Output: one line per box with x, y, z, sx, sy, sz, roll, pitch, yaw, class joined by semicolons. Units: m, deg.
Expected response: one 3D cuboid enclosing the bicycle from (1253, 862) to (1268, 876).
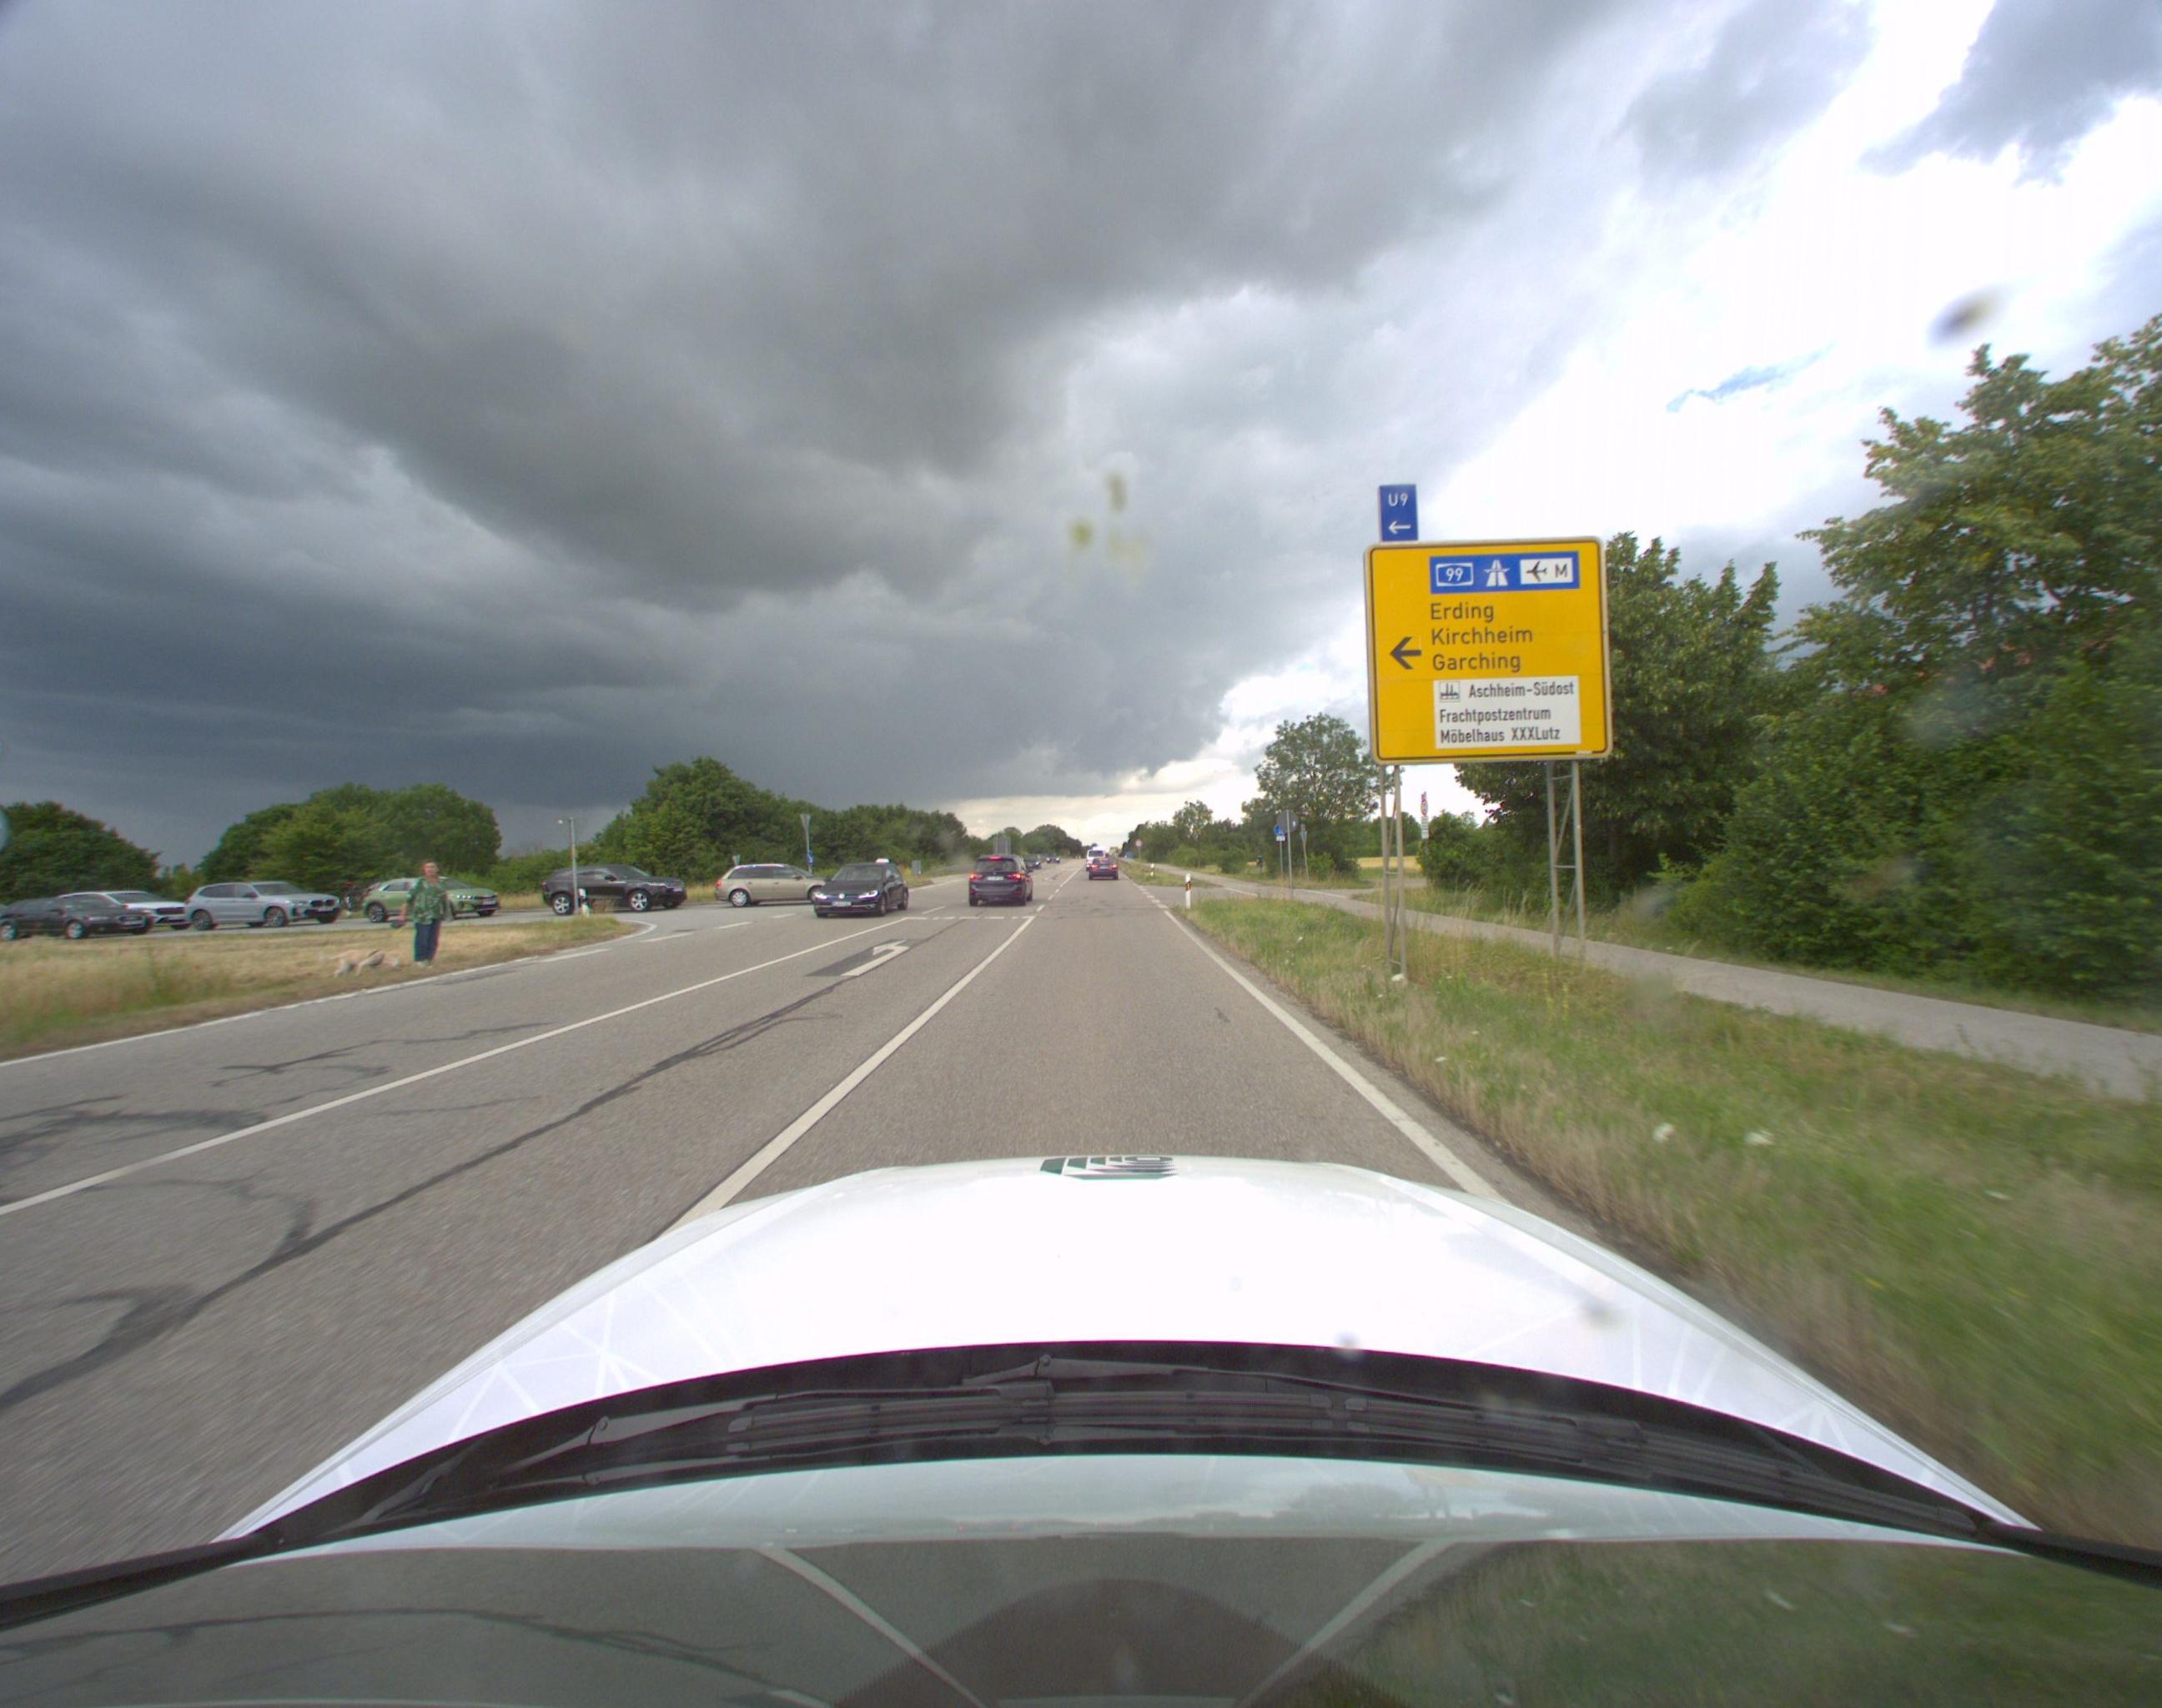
14.925;1.239;67.726;0.653;1.138;2.830;0;-1;1;bicycle

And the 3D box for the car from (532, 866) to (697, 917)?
-16.214;1.284;28.407;4.714;1.532;1.915;-2;0;7;car

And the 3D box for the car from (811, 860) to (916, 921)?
-5.982;0.949;22.908;1.673;1.521;4.397;0;0;1;car

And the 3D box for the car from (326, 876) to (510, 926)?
-23.459;1.635;28.917;5.256;1.521;1.915;-2;0;7;car

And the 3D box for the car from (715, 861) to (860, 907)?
-10.286;1.025;28.865;4.446;1.424;1.906;-2;0;-7;car

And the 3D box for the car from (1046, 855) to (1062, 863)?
-4.183;0.762;126.159;2.157;1.285;4.237;1;0;1;car

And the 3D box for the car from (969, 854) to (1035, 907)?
-2.537;0.817;27.106;1.696;1.611;4.482;0;0;1;car

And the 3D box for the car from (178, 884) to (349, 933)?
-29.453;1.935;29.408;4.598;1.517;1.915;-2;0;7;car

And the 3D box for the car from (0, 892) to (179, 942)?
-33.786;2.126;27.728;4.373;1.482;1.915;-2;0;7;car

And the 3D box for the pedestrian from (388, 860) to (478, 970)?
-10.044;0.913;12.656;0.591;1.605;0.865;-4;-1;-1;pedestrian

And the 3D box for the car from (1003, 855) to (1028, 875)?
-5.110;0.865;63.857;1.656;1.484;3.168;-1;0;1;car

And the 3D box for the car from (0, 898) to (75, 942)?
-41.433;2.547;30.957;4.466;1.482;1.915;-2;0;7;car

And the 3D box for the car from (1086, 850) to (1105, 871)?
1.358;0.627;75.648;1.779;1.890;4.001;0;-1;1;car

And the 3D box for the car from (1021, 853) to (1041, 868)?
-5.211;0.659;85.066;1.736;1.530;4.199;0;0;1;car

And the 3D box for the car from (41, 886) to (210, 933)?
-35.619;2.058;30.410;4.466;1.482;1.915;-2;0;7;car

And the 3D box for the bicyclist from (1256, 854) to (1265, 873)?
14.922;0.813;67.717;0.654;1.581;0.744;0;-1;0;bicyclist

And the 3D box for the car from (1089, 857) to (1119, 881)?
1.422;0.918;51.075;1.779;1.424;4.001;0;-1;1;car

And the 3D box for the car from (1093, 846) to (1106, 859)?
3.607;-0.334;154.867;2.438;2.504;5.043;0;0;2;car
